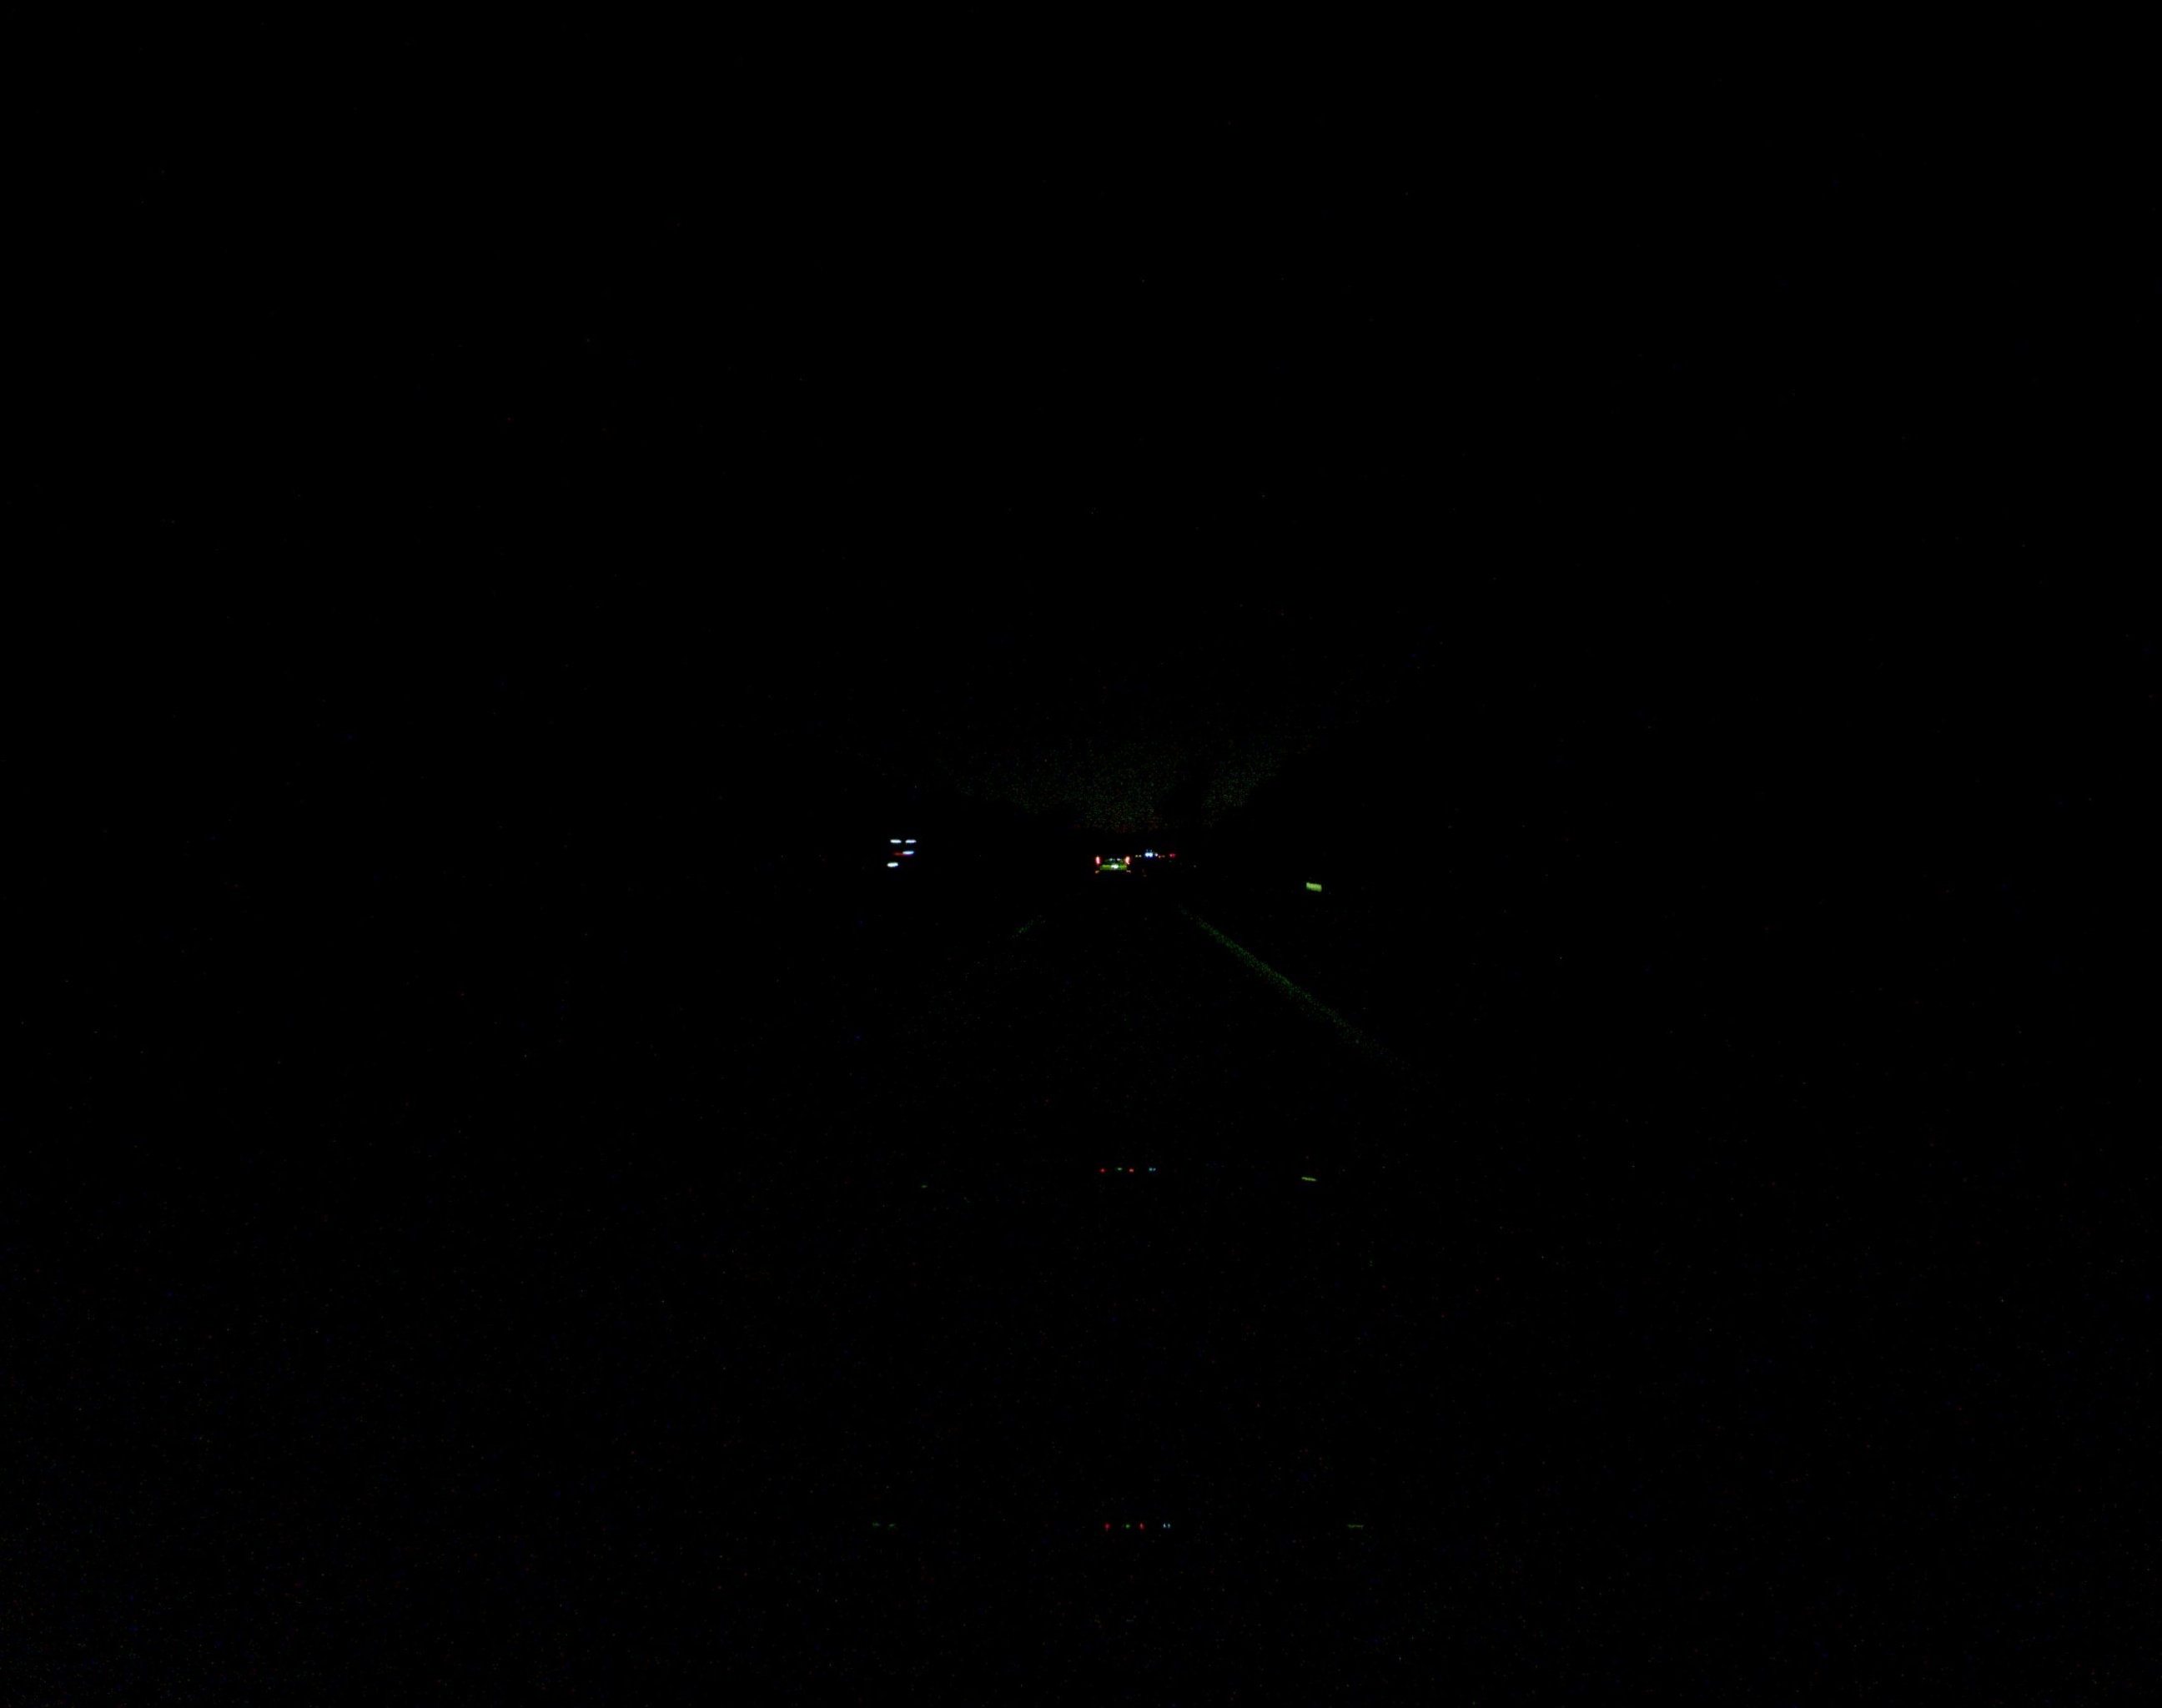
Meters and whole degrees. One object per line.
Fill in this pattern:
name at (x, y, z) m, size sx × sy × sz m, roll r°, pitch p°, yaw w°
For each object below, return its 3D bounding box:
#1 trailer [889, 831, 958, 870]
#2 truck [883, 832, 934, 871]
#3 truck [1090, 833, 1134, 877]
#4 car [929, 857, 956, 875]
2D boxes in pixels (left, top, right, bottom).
trailer at (-17.828, -0.289, 94.007) m, size 3.527 × 4.000 × 17.298 m, roll -1°, pitch -1°, yaw 3°
truck at (-18.239, -0.257, 86.694) m, size 3.487 × 3.970 × 6.706 m, roll -1°, pitch -1°, yaw 4°
truck at (2.074, 0.085, 53.273) m, size 2.619 × 2.624 × 8.690 m, roll -1°, pitch -1°, yaw 3°
car at (-12.684, 1.087, 74.781) m, size 1.739 × 1.646 × 3.744 m, roll -1°, pitch -1°, yaw 2°
